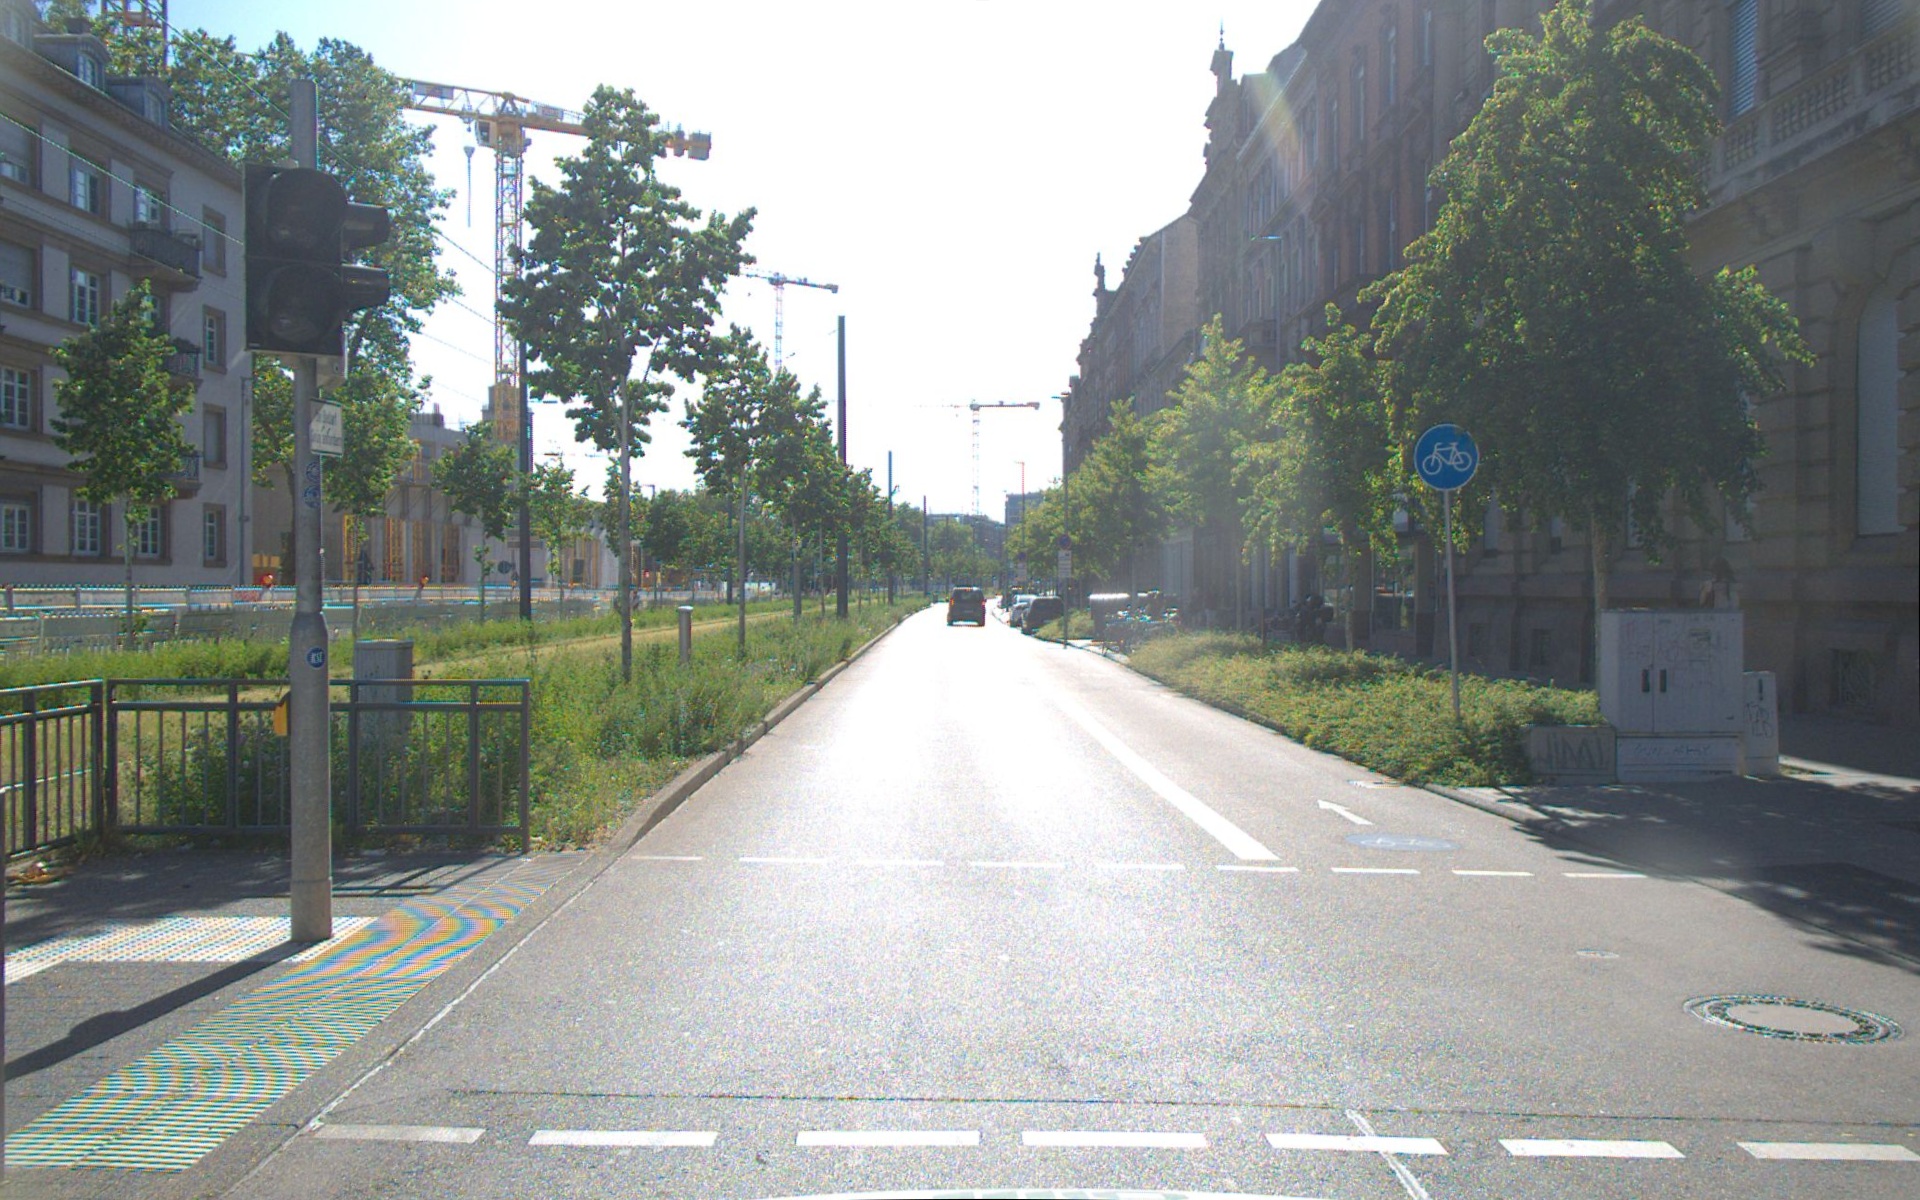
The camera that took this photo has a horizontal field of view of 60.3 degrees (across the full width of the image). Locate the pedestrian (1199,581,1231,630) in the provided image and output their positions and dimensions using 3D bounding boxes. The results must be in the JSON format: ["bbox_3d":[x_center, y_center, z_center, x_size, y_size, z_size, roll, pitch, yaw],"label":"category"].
[{"bbox_3d":[8.888,0.179,57.711,0.951,1.667,0.992,-1,1,-1],"label":"pedestrian"}]

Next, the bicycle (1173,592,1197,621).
[{"bbox_3d":[9.496,0.279,69.963,0.732,1.222,1.800,-1,0,-1],"label":"bicycle"}]

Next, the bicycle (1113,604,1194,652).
[{"bbox_3d":[4.858,0.693,41.500,1.938,1.127,0.435,-2,0,-4],"label":"bicycle"}]

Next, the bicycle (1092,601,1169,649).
[{"bbox_3d":[4.585,0.669,44.498,1.937,1.143,0.481,-4,1,-6],"label":"bicycle"}]

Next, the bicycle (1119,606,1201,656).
[{"bbox_3d":[4.794,0.734,39.683,1.855,1.128,0.517,-2,0,-6],"label":"bicycle"}]

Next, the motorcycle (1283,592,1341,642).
[{"bbox_3d":[9.447,0.454,44.510,0.848,1.288,2.981,1,0,-1],"label":"motorcycle"}]

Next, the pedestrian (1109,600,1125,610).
[{"bbox_3d":[9.591,0.305,100.991,0.757,0.562,2.007,-1,1,-1],"label":"pedestrian"}]

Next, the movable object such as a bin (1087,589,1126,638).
[{"bbox_3d":[4.842,0.431,54.749,1.244,1.488,1.645,1,2,4],"label":"movable object such as a bin"}]

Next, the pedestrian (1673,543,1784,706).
[{"bbox_3d":[9.585,0.300,20.669,0.871,1.953,1.098,-2,0,4],"label":"pedestrian"}]

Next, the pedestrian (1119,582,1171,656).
[{"bbox_3d":[4.615,0.483,41.264,0.893,1.766,0.838,-4,0,-37],"label":"pedestrian"}]

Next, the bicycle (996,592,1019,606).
[{"bbox_3d":[4.008,-0.089,139.224,1.790,1.097,0.664,-3,0,-7],"label":"bicycle"}]

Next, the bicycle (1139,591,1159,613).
[{"bbox_3d":[9.603,0.100,84.165,0.706,1.109,2.198,-1,0,0],"label":"bicycle"}]

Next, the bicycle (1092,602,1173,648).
[{"bbox_3d":[4.595,0.665,44.090,2.004,1.126,0.610,-3,0,-7],"label":"bicycle"}]

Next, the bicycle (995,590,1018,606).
[{"bbox_3d":[3.889,-0.161,137.688,1.843,1.255,0.499,-3,0,-6],"label":"bicycle"}]

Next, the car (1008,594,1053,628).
[{"bbox_3d":[3.391,0.506,80.312,1.912,1.521,5.104,-2,0,0],"label":"car"}]

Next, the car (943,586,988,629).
[{"bbox_3d":[0.246,0.361,80.935,1.954,2.049,3.998,1,0,-3],"label":"car"}]

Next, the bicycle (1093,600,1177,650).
[{"bbox_3d":[4.557,0.643,43.005,2.111,1.174,0.428,-3,1,-15],"label":"bicycle"}]

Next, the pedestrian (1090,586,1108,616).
[{"bbox_3d":[8.362,0.063,99.546,0.976,1.762,0.866,1,-1,-1],"label":"pedestrian"}]

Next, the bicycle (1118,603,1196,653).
[{"bbox_3d":[4.770,0.675,40.037,1.829,1.199,0.373,-1,0,-4],"label":"bicycle"}]

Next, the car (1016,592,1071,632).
[{"bbox_3d":[3.392,0.474,67.606,1.730,1.502,4.446,-2,0,-3],"label":"car"}]

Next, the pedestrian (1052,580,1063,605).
[{"bbox_3d":[8.095,-0.623,137.489,0.801,2.049,1.046,1,-2,0],"label":"pedestrian"}]

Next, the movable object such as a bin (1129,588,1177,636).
[{"bbox_3d":[6.404,0.402,54.946,1.345,1.521,1.749,-3,0,0],"label":"movable object such as a bin"}]

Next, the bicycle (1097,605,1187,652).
[{"bbox_3d":[4.699,0.723,42.663,2.247,1.121,0.484,-2,0,-15],"label":"bicycle"}]

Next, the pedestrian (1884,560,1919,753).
[{"bbox_3d":[9.022,0.487,14.760,0.949,1.722,1.114,-2,0,6],"label":"pedestrian"}]

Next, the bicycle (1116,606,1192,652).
[{"bbox_3d":[4.820,0.725,41.156,1.780,1.074,0.571,-2,0,-7],"label":"bicycle"}]

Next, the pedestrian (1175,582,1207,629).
[{"bbox_3d":[8.039,0.190,57.596,0.931,1.594,1.080,-1,1,-1],"label":"pedestrian"}]

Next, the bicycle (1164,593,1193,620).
[{"bbox_3d":[9.640,0.260,73.031,0.858,1.124,2.180,-3,0,-3],"label":"bicycle"}]
